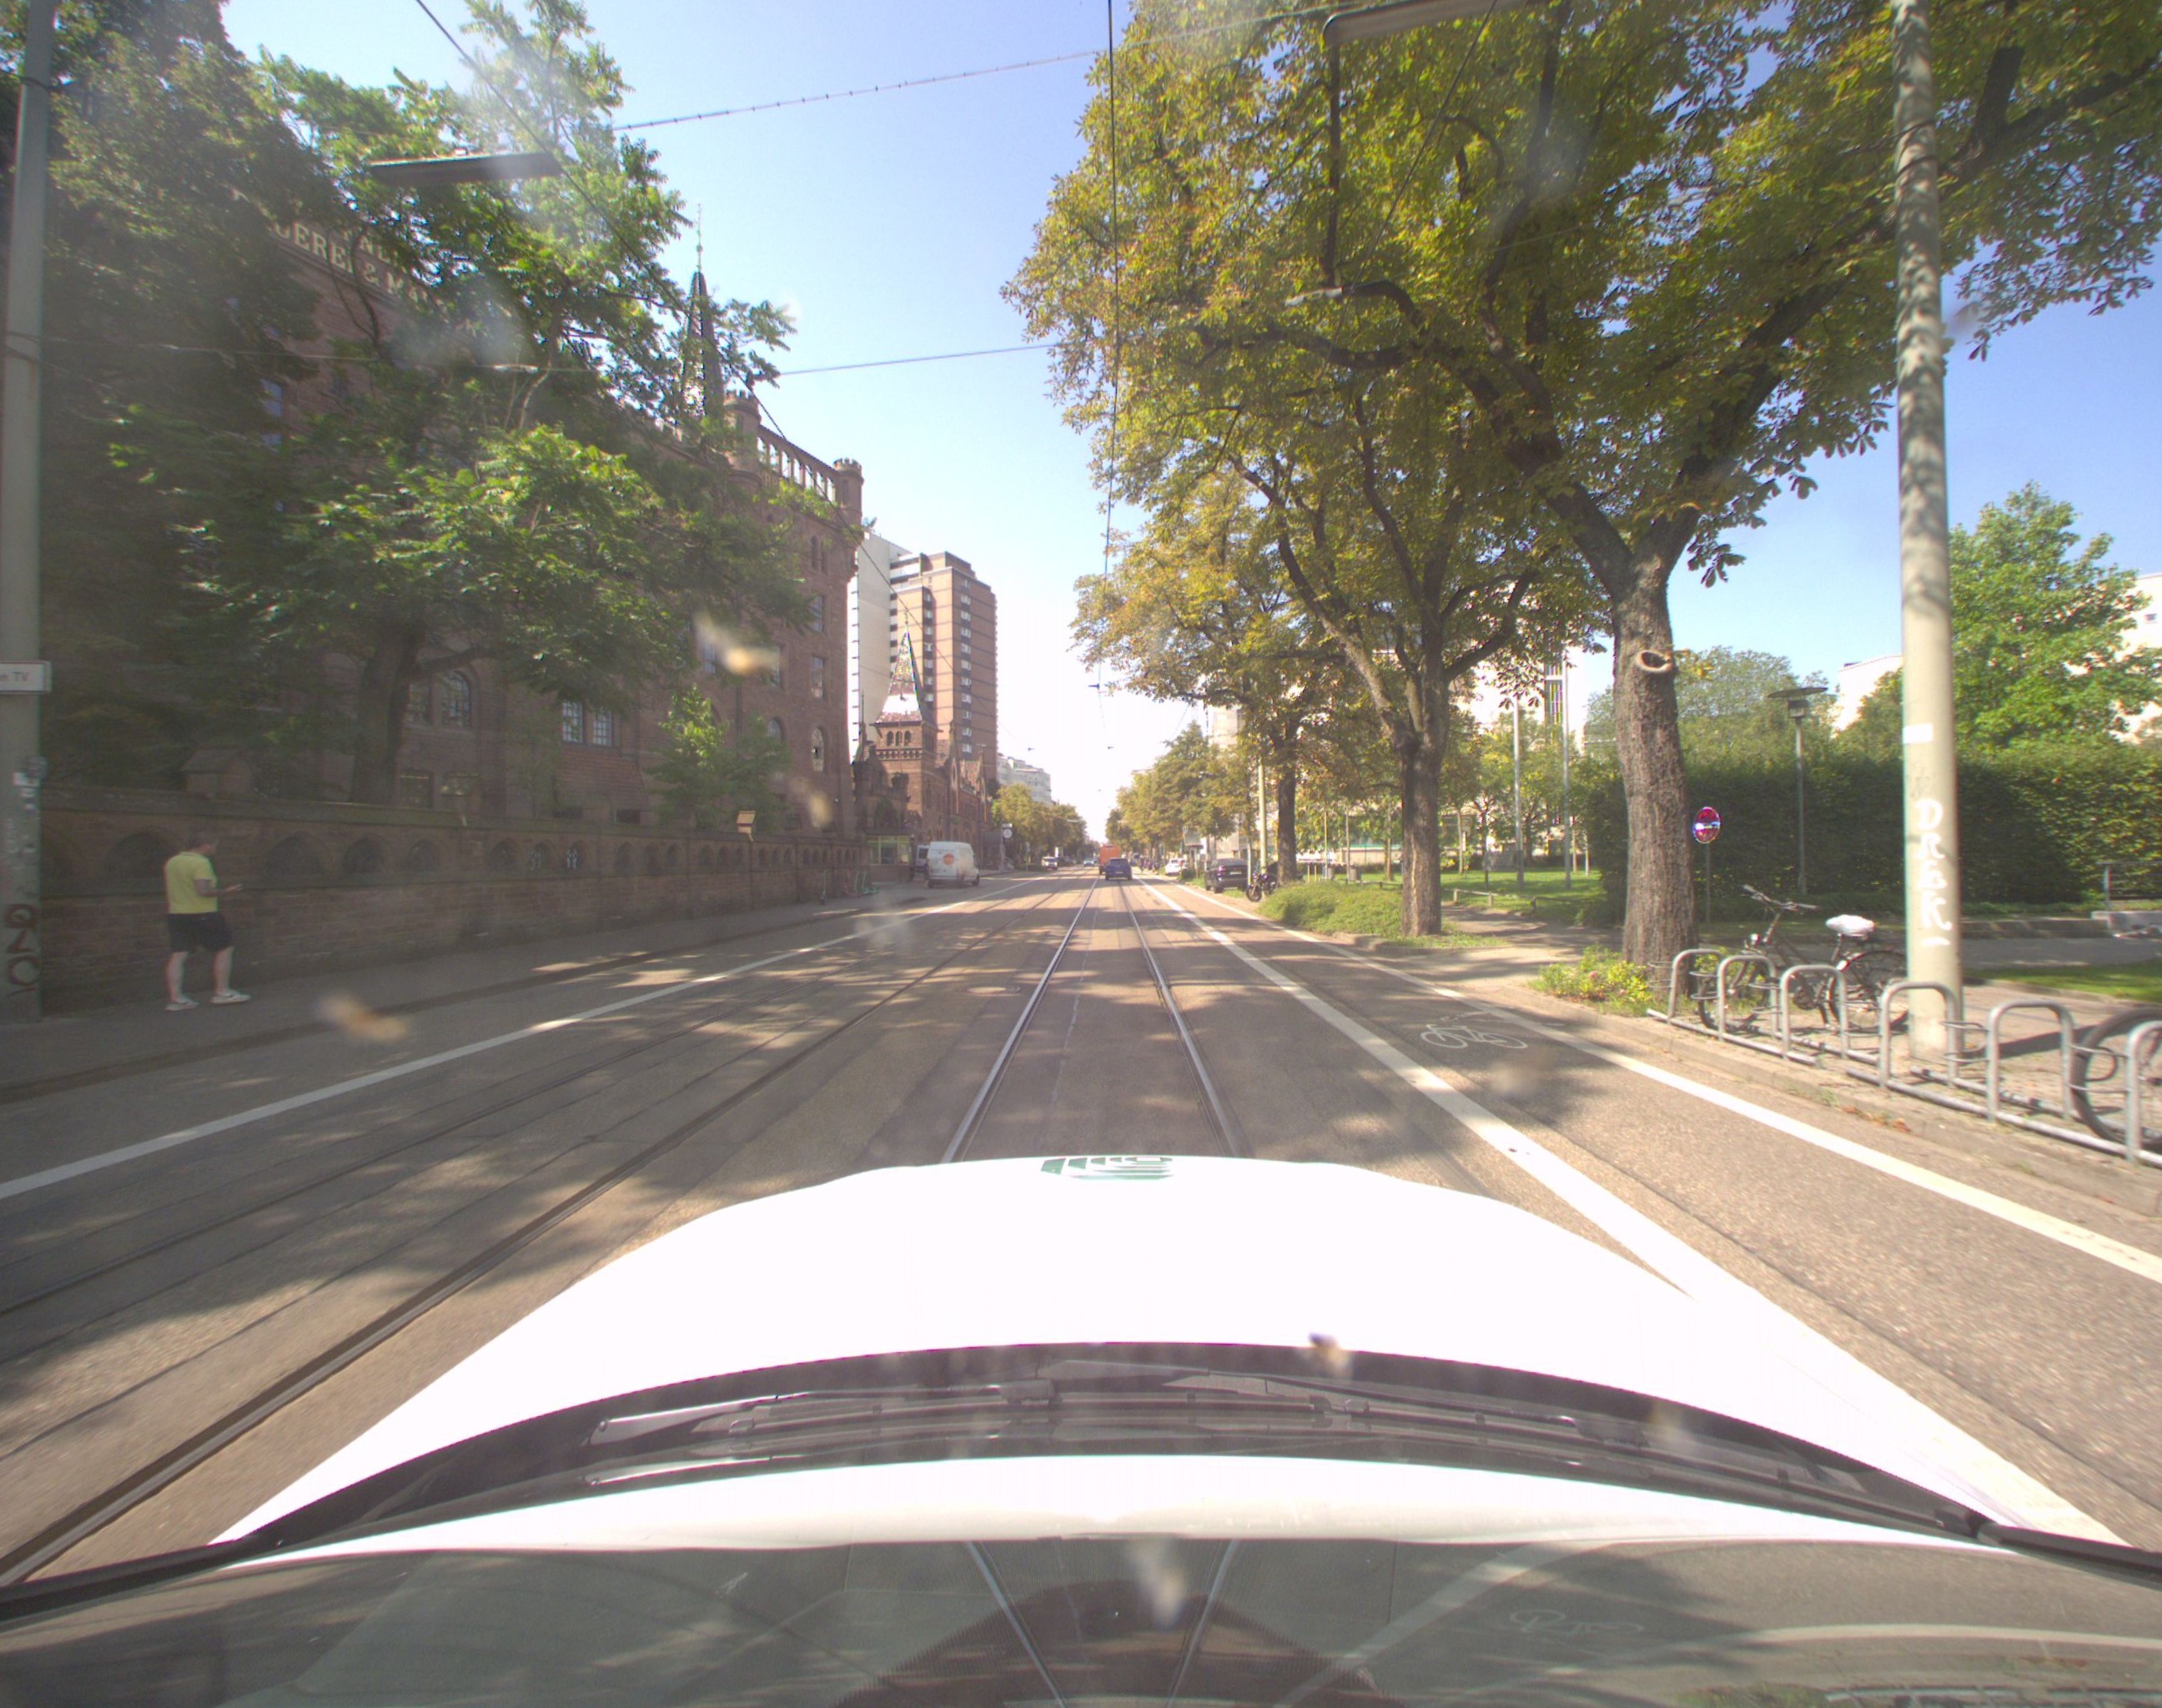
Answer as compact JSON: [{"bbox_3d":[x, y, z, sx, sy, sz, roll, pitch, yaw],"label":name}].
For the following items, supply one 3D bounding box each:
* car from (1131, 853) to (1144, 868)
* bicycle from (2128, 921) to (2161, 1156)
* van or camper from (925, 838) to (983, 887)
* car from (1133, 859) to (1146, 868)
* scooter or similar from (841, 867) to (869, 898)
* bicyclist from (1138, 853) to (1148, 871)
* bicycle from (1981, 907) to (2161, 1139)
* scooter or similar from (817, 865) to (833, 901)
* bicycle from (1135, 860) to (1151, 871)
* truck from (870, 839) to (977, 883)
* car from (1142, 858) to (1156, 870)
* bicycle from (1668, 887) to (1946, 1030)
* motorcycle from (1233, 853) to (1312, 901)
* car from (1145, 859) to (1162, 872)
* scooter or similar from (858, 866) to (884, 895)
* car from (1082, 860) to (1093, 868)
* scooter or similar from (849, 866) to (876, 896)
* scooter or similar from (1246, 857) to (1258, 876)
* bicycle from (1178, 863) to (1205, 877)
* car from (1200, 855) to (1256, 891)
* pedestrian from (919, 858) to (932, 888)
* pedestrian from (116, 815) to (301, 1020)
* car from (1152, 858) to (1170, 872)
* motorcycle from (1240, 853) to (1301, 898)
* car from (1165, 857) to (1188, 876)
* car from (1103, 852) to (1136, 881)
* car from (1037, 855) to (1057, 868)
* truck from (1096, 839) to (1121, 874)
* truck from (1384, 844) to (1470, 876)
[{"bbox_3d":[10.585,1.150,152.910,1.986,2.756,5.762,-1,0,1],"label":"car"},{"bbox_3d":[5.754,0.814,3.505,1.765,1.050,0.541,-2,0,0],"label":"bicycle"},{"bbox_3d":[-7.305,0.472,47.436,2.104,2.675,5.960,-1,0,3],"label":"van or camper"},{"bbox_3d":[10.221,1.686,142.312,1.901,1.431,4.293,-1,0,1],"label":"car"},{"bbox_3d":[-8.745,1.083,31.587,0.336,1.178,1.185,-1,-1,27],"label":"scooter or similar"},{"bbox_3d":[6.310,0.763,82.871,1.028,1.812,1.016,-1,-1,1],"label":"bicyclist"},{"bbox_3d":[5.821,0.818,4.182,1.765,1.050,0.541,-2,0,0],"label":"bicycle"},{"bbox_3d":[-8.568,0.964,27.279,0.421,1.178,1.310,0,-1,-14],"label":"scooter or similar"},{"bbox_3d":[6.279,1.146,82.897,1.396,1.134,4.002,-1,0,2],"label":"bicycle"},{"bbox_3d":[-10.103,0.436,52.354,6.288,2.538,2.135,2,1,6],"label":"truck"},{"bbox_3d":[9.339,1.368,111.700,1.628,1.585,4.189,-1,0,1],"label":"car"},{"bbox_3d":[5.890,0.832,6.661,1.765,1.050,0.541,-2,0,0],"label":"bicycle"},{"bbox_3d":[6.344,0.744,27.138,2.423,1.516,0.858,-1,-1,40],"label":"motorcycle"},{"bbox_3d":[8.748,1.370,98.606,1.736,1.556,4.219,-2,-1,2],"label":"car"},{"bbox_3d":[-8.736,1.097,33.894,0.336,1.178,1.185,-1,-1,27],"label":"scooter or similar"},{"bbox_3d":[1.283,1.796,150.880,1.839,1.492,4.870,-1,0,3],"label":"car"},{"bbox_3d":[-8.792,1.090,32.761,0.336,1.178,1.185,-1,-1,27],"label":"scooter or similar"},{"bbox_3d":[11.226,0.819,53.512,0.553,1.259,1.820,-1,0,5],"label":"scooter or similar"},{"bbox_3d":[7.605,1.075,55.914,1.805,0.958,0.558,-1,-1,1],"label":"bicycle"},{"bbox_3d":[6.752,0.841,37.801,1.750,1.515,4.609,-2,-1,1],"label":"car"},{"bbox_3d":[-8.433,1.041,44.154,0.547,1.599,0.500,-1,-1,7],"label":"pedestrian"},{"bbox_3d":[-9.089,0.627,8.535,0.861,2.014,0.983,0,-1,0],"label":"pedestrian"},{"bbox_3d":[8.517,1.180,87.055,1.653,1.408,4.219,-2,-1,2],"label":"car"},{"bbox_3d":[6.670,0.752,28.832,0.853,1.516,2.436,0,-1,-23],"label":"motorcycle"},{"bbox_3d":[8.017,1.036,68.673,1.653,1.481,4.219,-2,-1,2],"label":"car"},{"bbox_3d":[2.603,0.834,55.874,2.127,1.858,5.571,-2,0,2],"label":"car"},{"bbox_3d":[-4.809,1.131,115.881,1.753,1.796,3.973,0,-1,-20],"label":"car"},{"bbox_3d":[2.579,0.255,75.785,2.127,3.124,6.087,-2,-1,2],"label":"truck"},{"bbox_3d":[25.812,0.455,60.943,5.484,2.326,2.300,-1,-1,3],"label":"truck"}]
